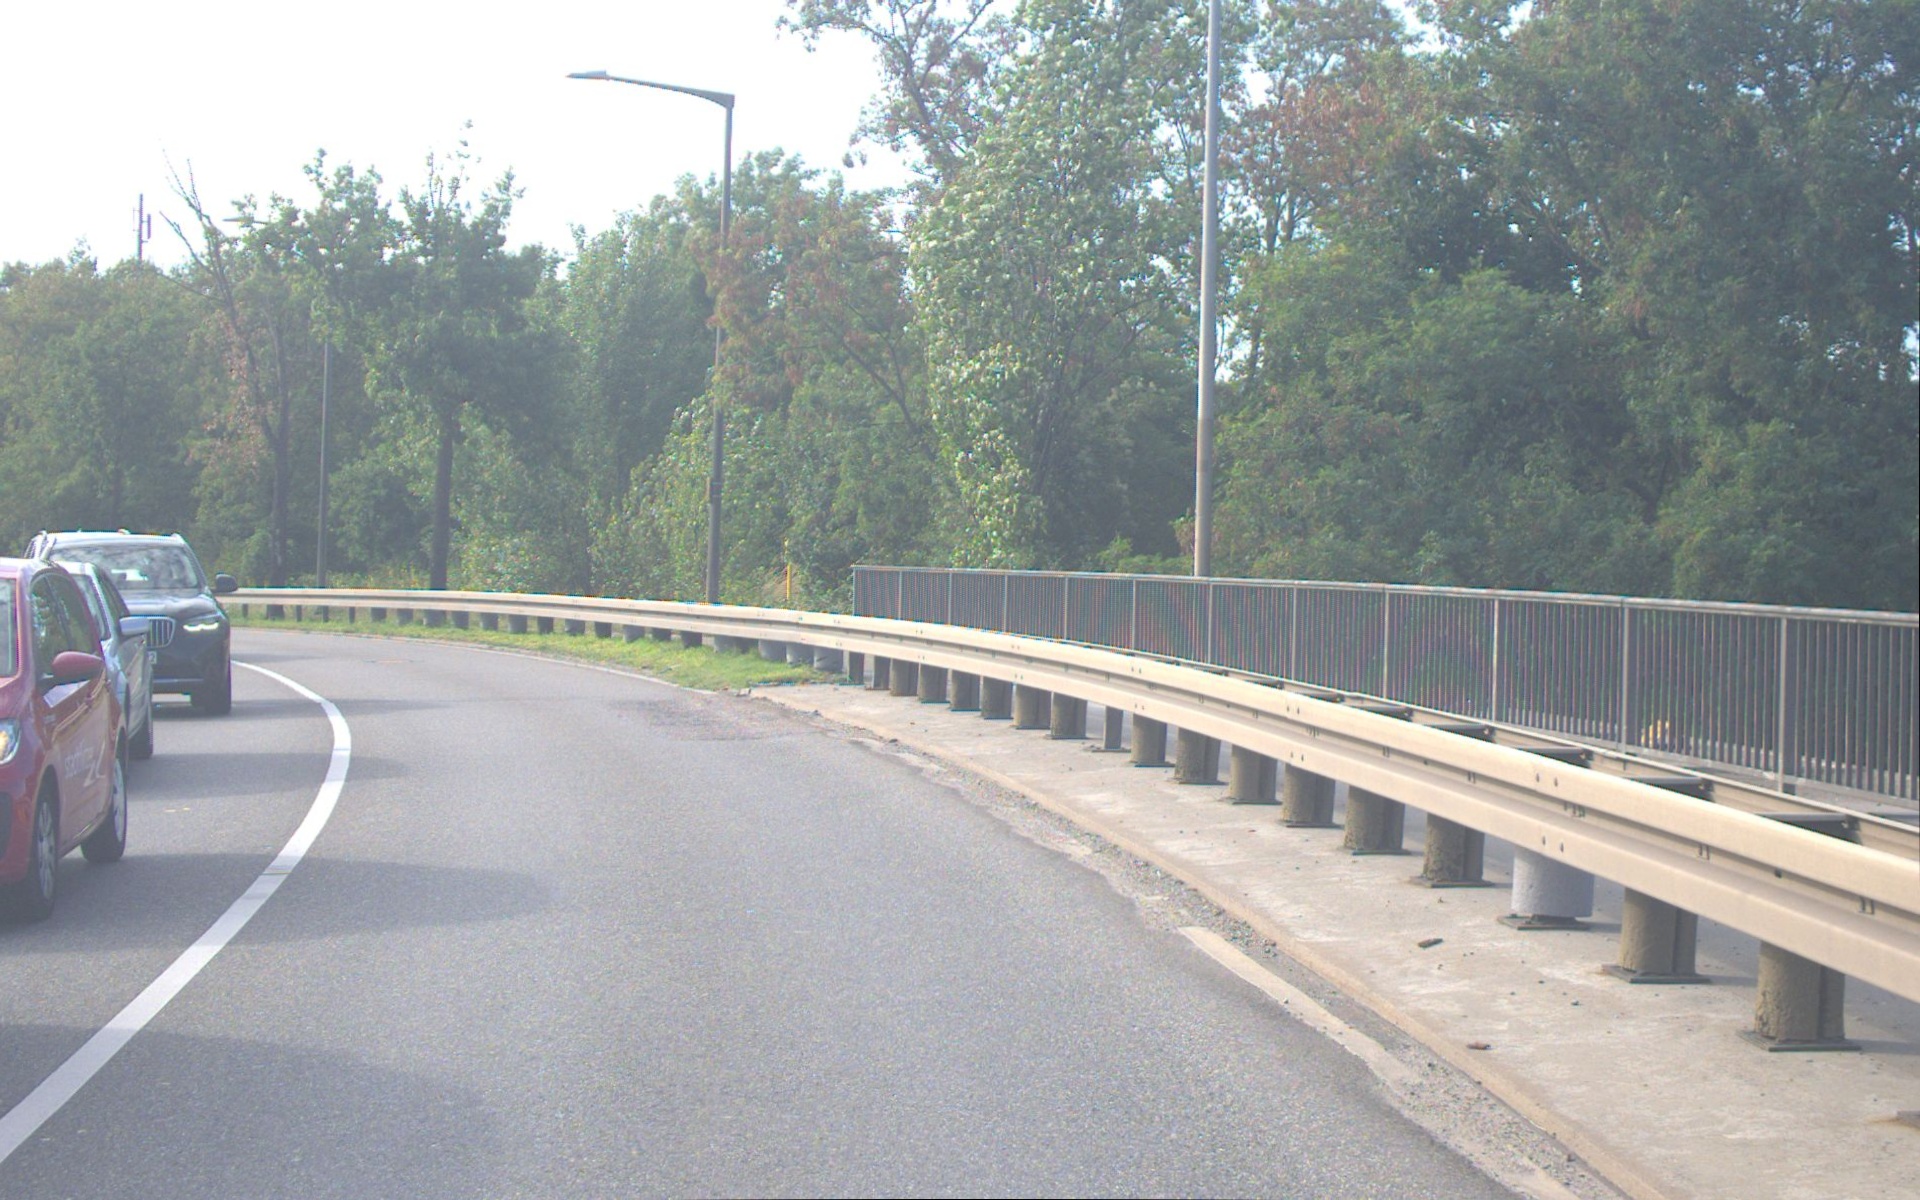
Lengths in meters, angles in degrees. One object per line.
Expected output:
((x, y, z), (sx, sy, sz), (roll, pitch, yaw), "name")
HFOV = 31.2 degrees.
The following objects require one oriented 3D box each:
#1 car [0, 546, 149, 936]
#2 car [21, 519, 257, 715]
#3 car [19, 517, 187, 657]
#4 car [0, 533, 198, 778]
((-4.521, 0.524, 14.782), (1.599, 1.459, 3.737), (-1, 1, -7), "car")
((-7.560, 0.106, 31.998), (1.889, 1.643, 4.643), (-2, 1, -11), "car")
((-11.996, -0.206, 47.886), (1.900, 1.804, 5.406), (-1, 1, -18), "car")
((-6.251, 0.313, 23.568), (1.731, 1.450, 4.266), (-2, 2, -9), "car")
